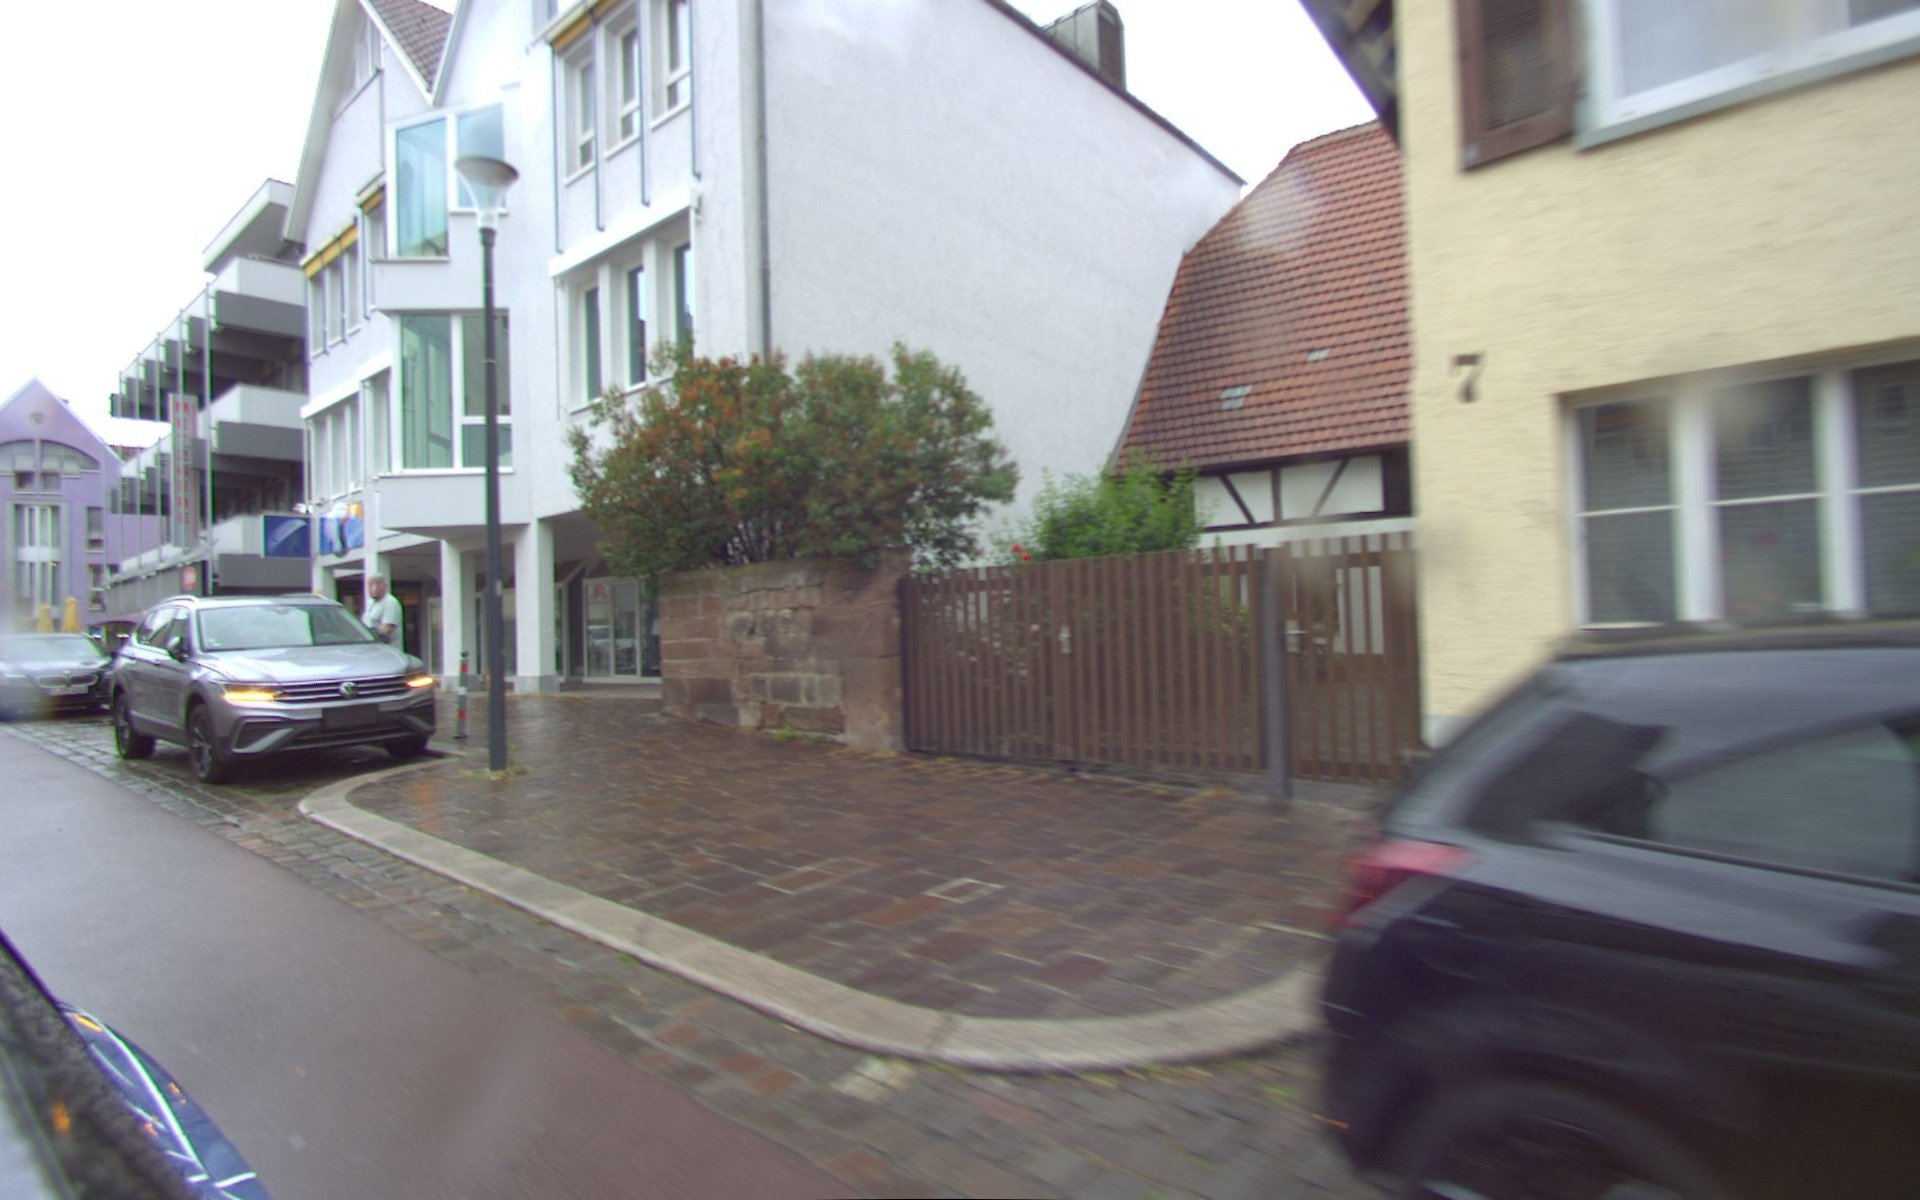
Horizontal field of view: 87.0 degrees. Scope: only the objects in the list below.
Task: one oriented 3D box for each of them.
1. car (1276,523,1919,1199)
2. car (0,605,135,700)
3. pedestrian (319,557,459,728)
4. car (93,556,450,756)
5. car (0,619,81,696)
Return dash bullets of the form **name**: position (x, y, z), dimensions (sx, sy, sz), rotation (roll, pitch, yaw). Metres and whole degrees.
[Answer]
- **car**: position (2.649, 0.563, 1.504), dimensions (3.820, 1.399, 1.665), rotation (-1, 0, 38)
- **car**: position (-16.559, 0.934, 18.355), dimensions (4.762, 1.510, 1.811), rotation (-3, -2, 43)
- **pedestrian**: position (-6.503, 0.455, 11.529), dimensions (1.115, 1.820, 1.024), rotation (-3, -1, 41)
- **car**: position (-6.967, 0.457, 10.057), dimensions (4.404, 1.580, 1.762), rotation (-1, 0, 39)
- **car**: position (-21.485, 1.303, 22.935), dimensions (3.997, 1.562, 1.773), rotation (-3, 0, 41)
